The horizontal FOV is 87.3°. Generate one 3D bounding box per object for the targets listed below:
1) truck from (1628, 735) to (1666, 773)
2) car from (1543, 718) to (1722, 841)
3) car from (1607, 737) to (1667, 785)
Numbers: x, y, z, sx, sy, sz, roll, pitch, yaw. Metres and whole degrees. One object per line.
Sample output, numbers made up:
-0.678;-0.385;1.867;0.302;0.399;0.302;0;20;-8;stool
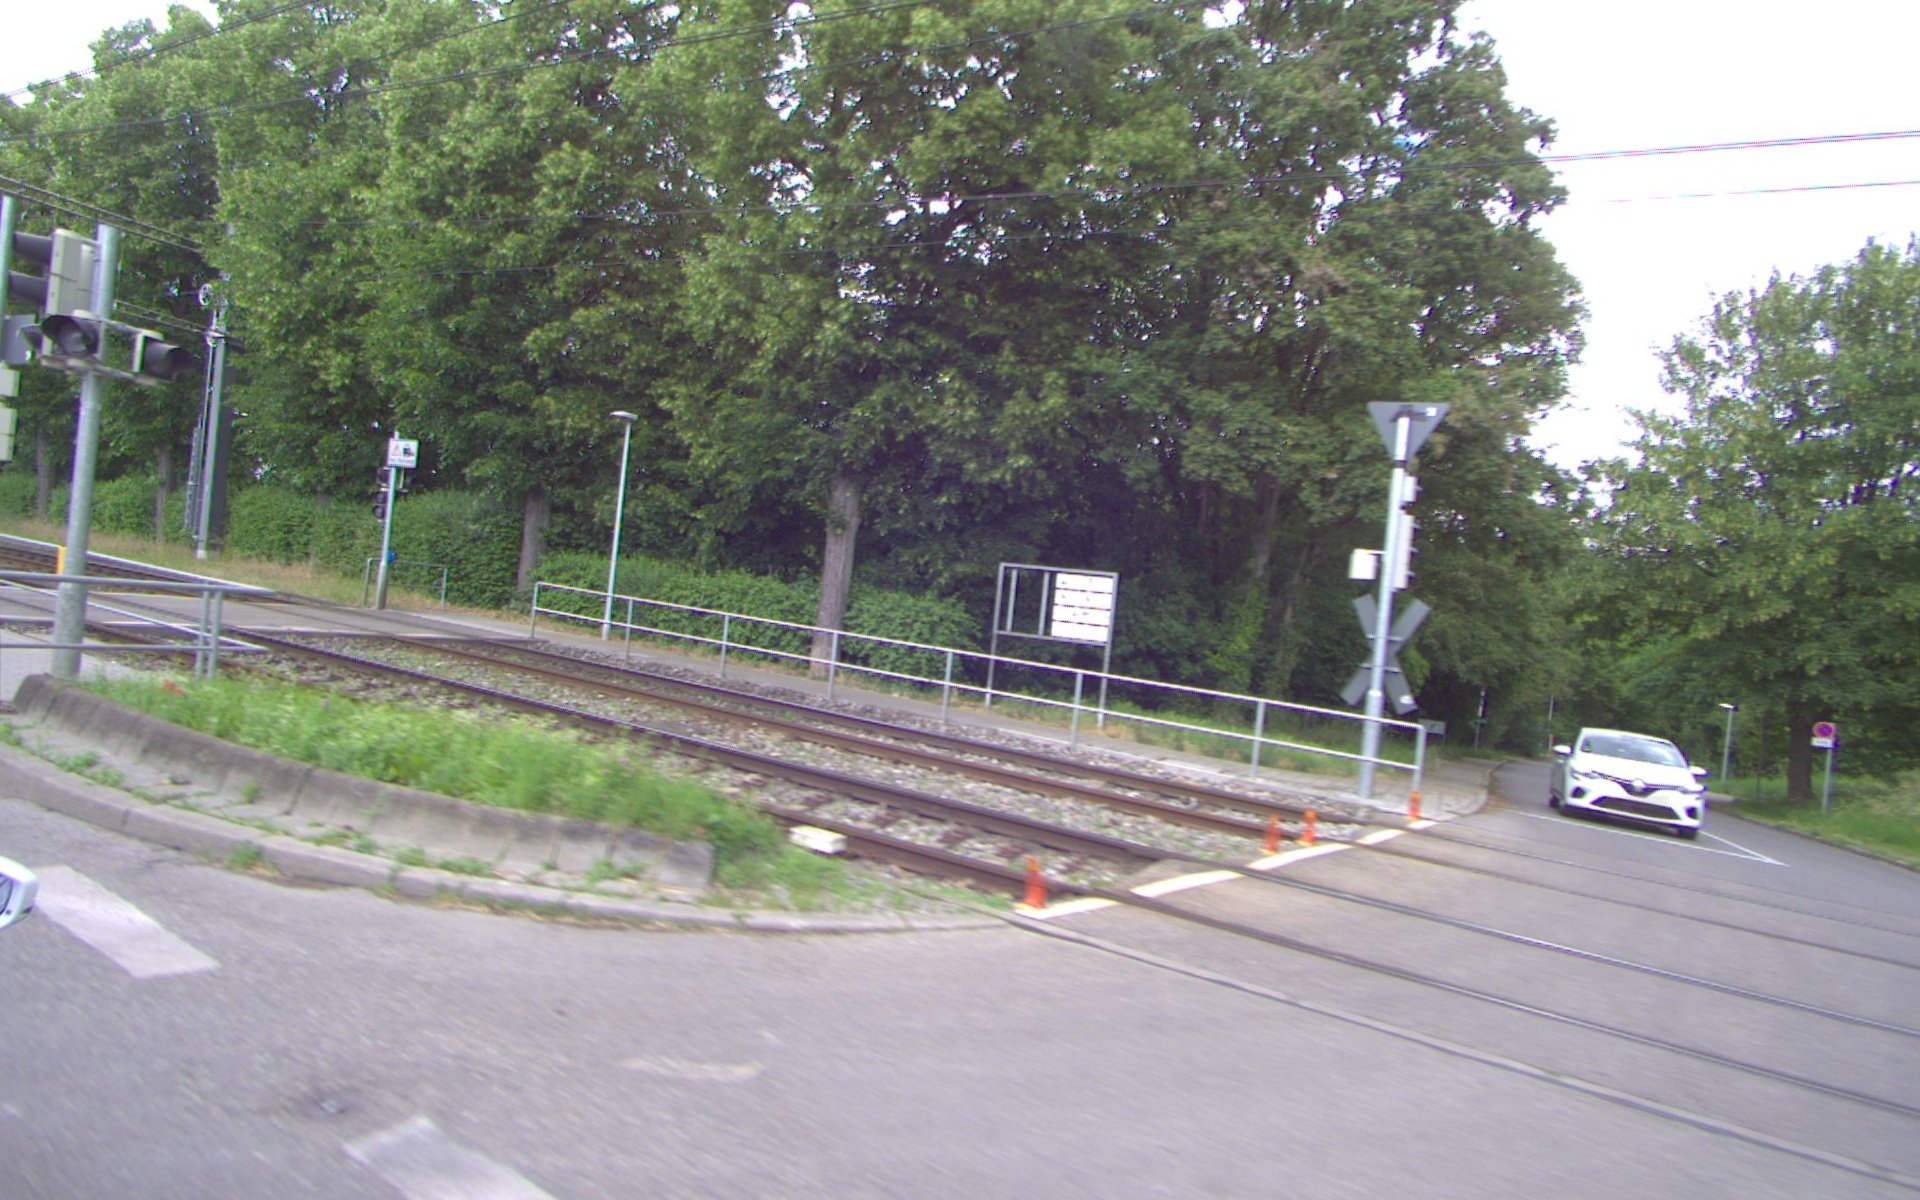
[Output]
63.874;14.317;93.502;2.380;2.971;7.249;7;-3;37;truck
10.459;2.741;15.932;1.754;1.399;4.002;7;-4;27;car
31.734;7.494;47.237;1.773;1.848;4.000;7;-3;29;car
